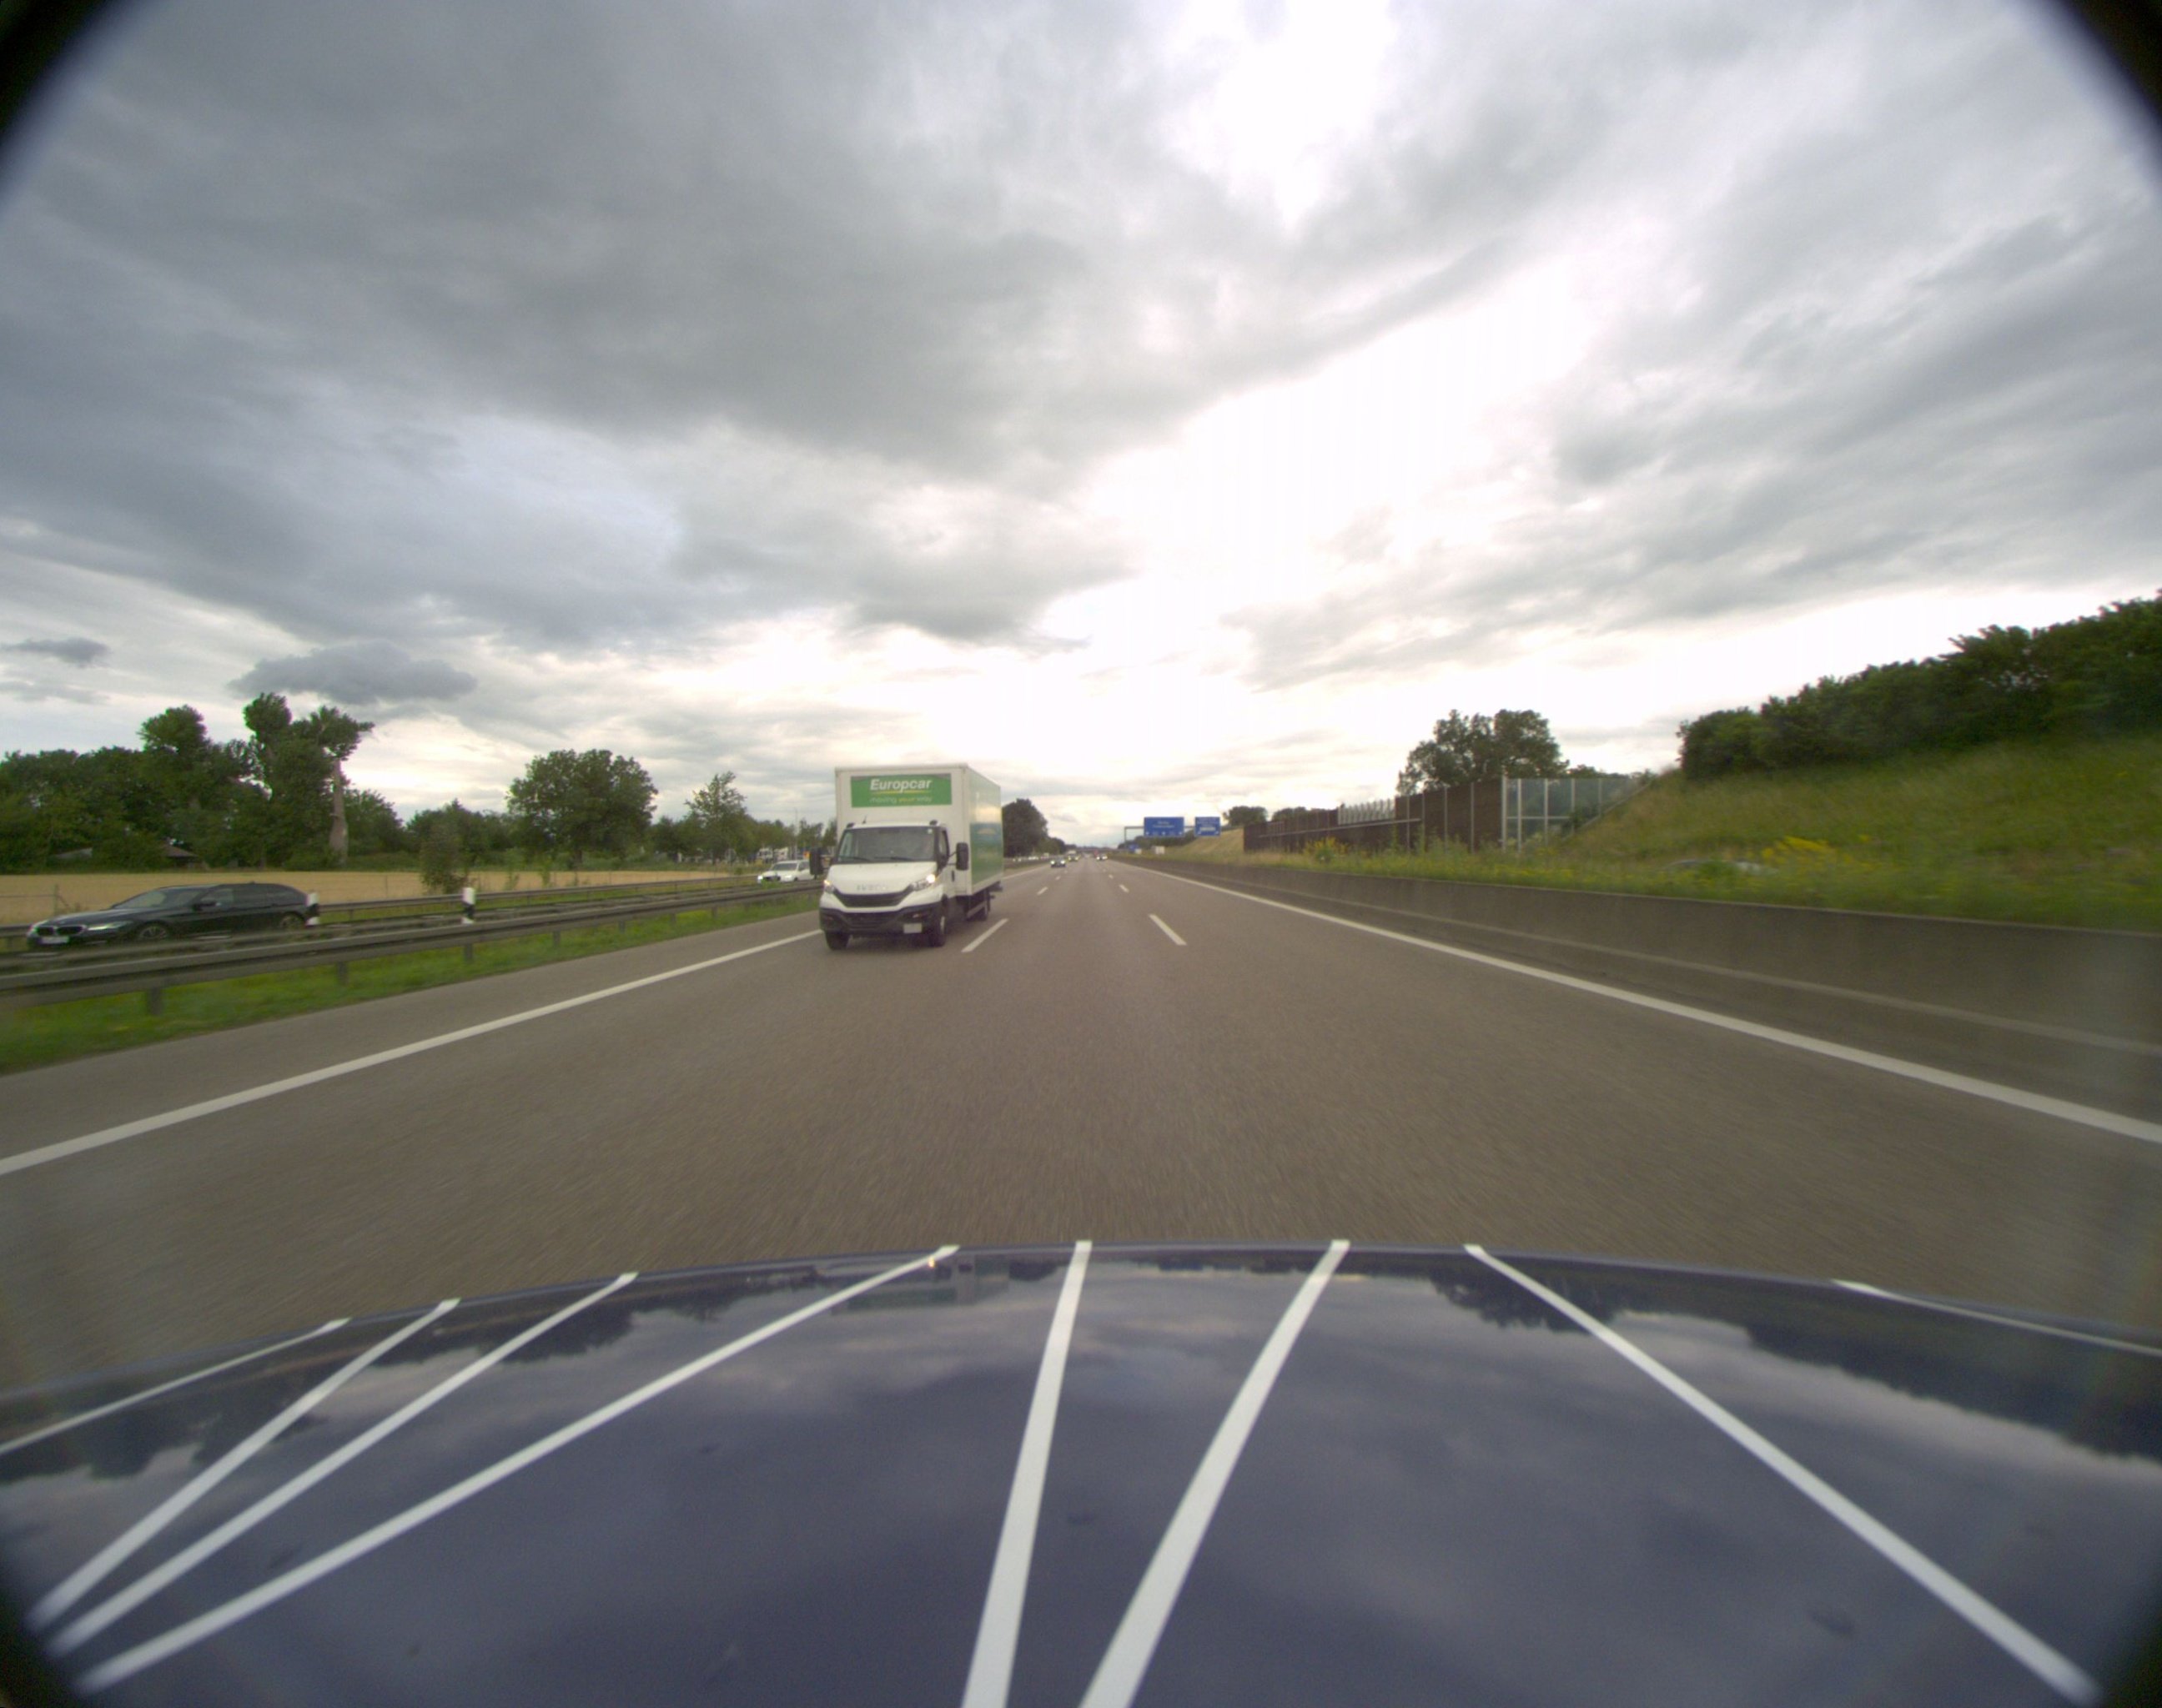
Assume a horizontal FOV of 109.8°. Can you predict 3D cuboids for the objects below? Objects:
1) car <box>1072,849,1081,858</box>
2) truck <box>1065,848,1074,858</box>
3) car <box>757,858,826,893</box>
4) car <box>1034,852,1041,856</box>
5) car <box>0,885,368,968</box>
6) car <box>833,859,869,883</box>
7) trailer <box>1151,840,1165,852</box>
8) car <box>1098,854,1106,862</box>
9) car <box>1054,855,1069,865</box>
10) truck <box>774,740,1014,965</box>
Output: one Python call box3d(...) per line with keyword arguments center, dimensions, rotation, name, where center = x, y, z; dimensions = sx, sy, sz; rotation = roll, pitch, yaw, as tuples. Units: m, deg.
box3d(center=(-1.051, -0.128, 169.998), dimensions=(1.998, 2.002, 4.000), rotation=(0, 1, 1), name="car")
box3d(center=(-3.004, -0.372, 198.069), dimensions=(1.998, 2.482, 5.869), rotation=(-3, 1, 1), name="truck")
box3d(center=(-16.090, 1.162, 42.543), dimensions=(1.832, 1.746, 5.065), rotation=(-1, 0, 1), name="car")
box3d(center=(-13.289, -0.079, 232.738), dimensions=(1.828, 1.236, 3.878), rotation=(-1, 0, 1), name="car")
box3d(center=(-20.563, 1.559, 17.996), dimensions=(1.832, 1.308, 5.714), rotation=(-2, 0, 1), name="car")
box3d(center=(-21.075, 1.522, 69.853), dimensions=(1.982, 2.002, 4.000), rotation=(-3, 1, 1), name="car")
box3d(center=(22.550, -2.240, 221.893), dimensions=(2.827, 3.357, 13.509), rotation=(-1, 0, 1), name="trailer")
box3d(center=(4.966, 0.928, 179.771), dimensions=(1.998, 2.002, 4.000), rotation=(0, 1, 1), name="car")
box3d(center=(-2.485, 0.749, 98.555), dimensions=(1.781, 1.180, 4.000), rotation=(-1, 0, 1), name="car")
box3d(center=(-3.381, -0.041, 16.669), dimensions=(2.777, 3.484, 9.061), rotation=(-2, 0, 1), name="truck")
